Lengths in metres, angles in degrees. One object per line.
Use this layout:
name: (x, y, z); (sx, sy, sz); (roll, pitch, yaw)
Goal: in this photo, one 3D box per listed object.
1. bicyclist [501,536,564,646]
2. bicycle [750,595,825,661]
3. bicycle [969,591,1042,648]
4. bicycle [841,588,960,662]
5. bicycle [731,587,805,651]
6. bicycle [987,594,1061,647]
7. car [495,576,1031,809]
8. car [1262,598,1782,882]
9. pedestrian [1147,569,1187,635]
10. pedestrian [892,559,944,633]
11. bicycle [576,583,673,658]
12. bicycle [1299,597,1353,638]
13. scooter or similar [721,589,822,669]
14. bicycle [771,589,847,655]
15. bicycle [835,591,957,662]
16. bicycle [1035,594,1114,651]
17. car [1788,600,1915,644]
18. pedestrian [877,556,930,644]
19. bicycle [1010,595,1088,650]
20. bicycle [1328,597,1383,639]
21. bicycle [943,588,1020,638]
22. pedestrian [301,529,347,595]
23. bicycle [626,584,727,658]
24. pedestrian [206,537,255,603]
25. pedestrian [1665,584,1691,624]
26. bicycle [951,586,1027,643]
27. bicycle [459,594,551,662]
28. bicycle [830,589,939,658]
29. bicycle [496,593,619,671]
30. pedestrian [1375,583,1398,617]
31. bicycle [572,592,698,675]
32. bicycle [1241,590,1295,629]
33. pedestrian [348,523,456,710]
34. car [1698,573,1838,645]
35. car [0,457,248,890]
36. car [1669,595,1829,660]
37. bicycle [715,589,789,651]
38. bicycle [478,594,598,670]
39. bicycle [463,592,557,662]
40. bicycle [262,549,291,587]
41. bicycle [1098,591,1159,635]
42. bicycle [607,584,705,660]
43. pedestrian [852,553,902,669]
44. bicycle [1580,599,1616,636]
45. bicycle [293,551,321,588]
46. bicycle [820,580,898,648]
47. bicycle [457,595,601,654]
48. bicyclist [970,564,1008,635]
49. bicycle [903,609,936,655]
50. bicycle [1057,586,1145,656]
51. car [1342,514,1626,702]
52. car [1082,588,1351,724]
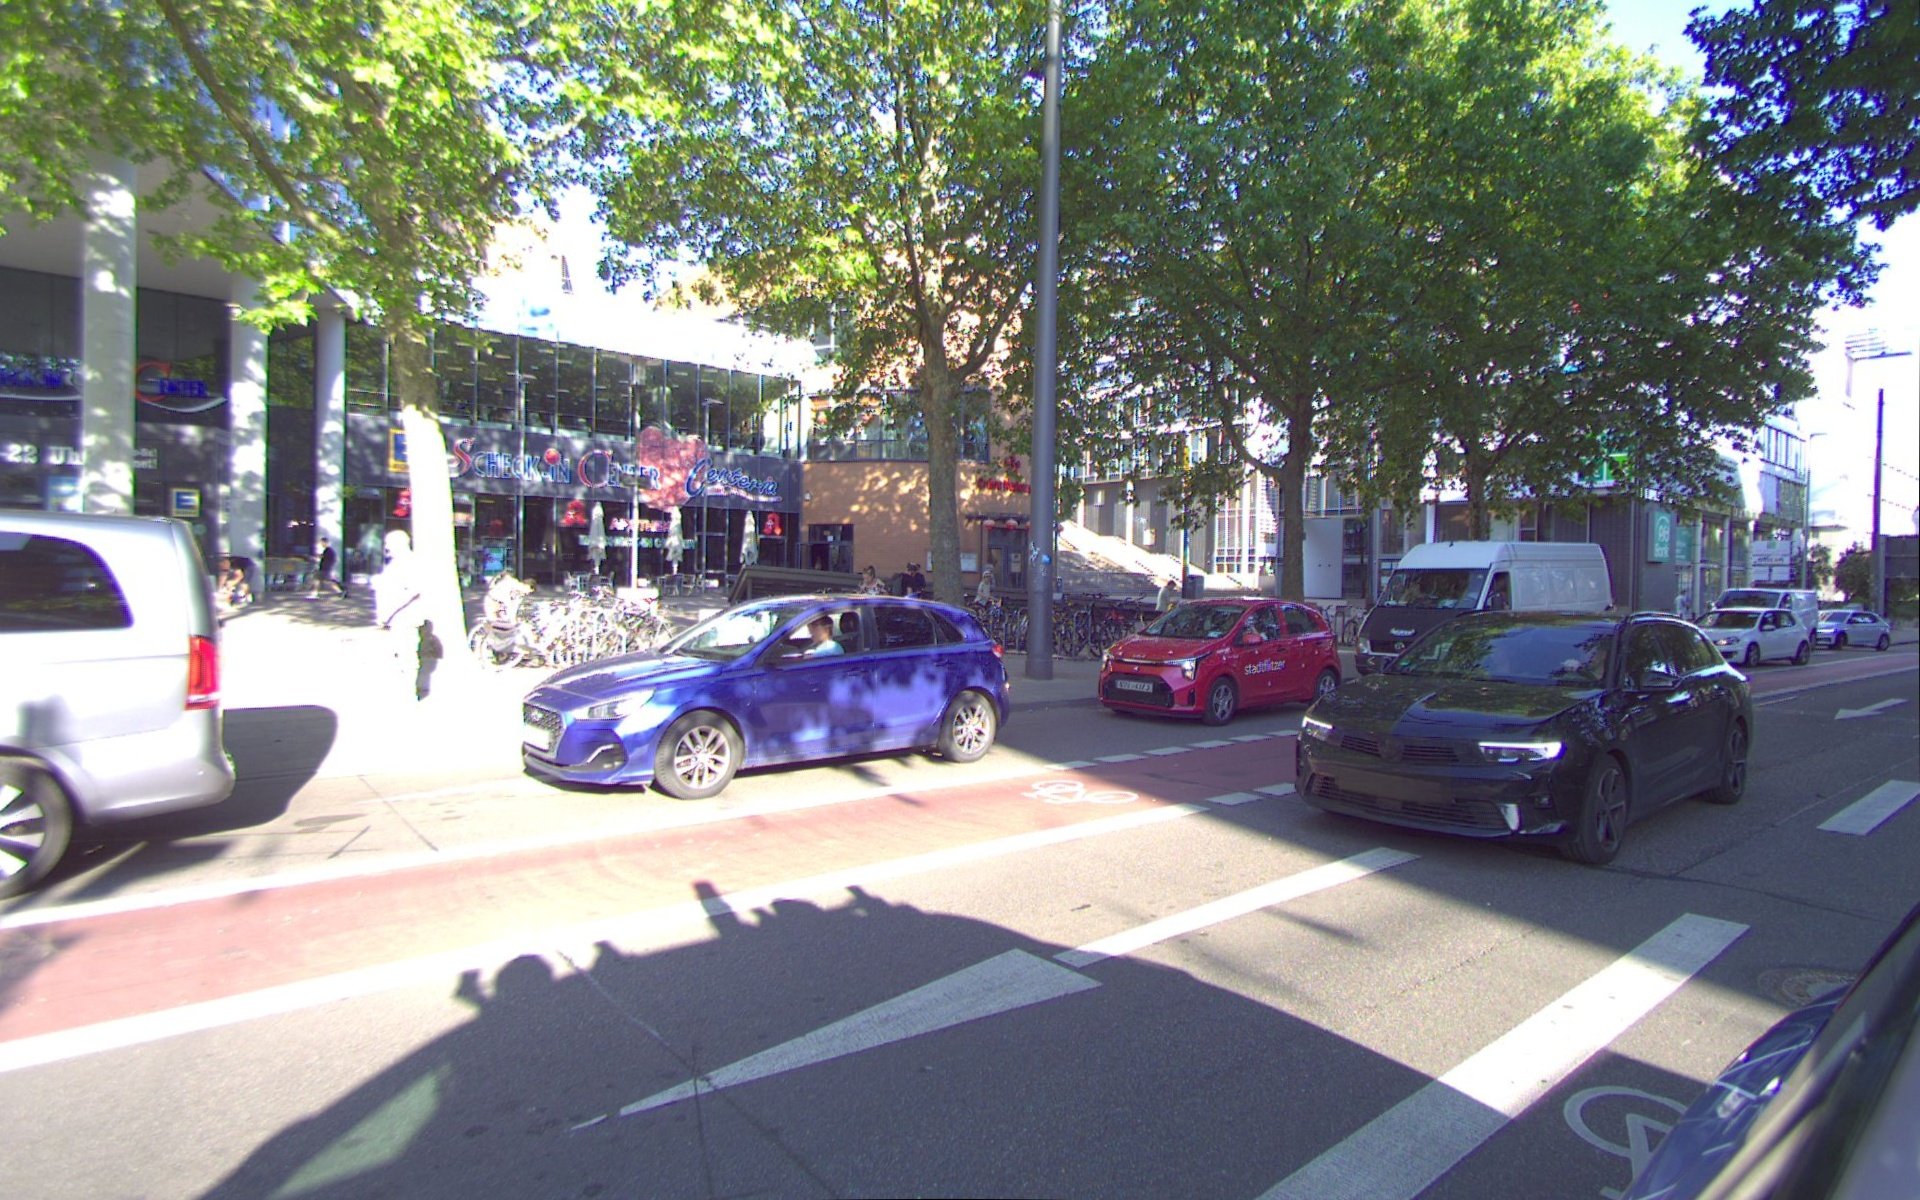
bicyclist: (-7.175, -0.155, 17.036); (0.834, 1.789, 0.754); (1, 1, -13)
bicycle: (-3.247, 0.509, 19.103); (0.420, 1.174, 1.455); (2, 1, 41)
bicycle: (0.972, 0.390, 21.349); (1.626, 1.151, 0.503); (0, 1, -41)
bicycle: (-0.948, 0.393, 16.065); (1.788, 1.130, 0.598); (1, 1, -13)
bicycle: (-3.680, 0.343, 19.488); (0.420, 1.174, 1.455); (2, 1, 41)
bicycle: (1.330, 0.414, 20.880); (1.626, 1.044, 0.503); (0, 1, -41)
car: (-1.496, 0.584, 8.606); (4.143, 1.482, 1.768); (0, 2, -41)
car: (4.176, 0.705, 7.217); (4.268, 1.443, 1.826); (0, 0, -40)
pedestrian: (5.257, 0.045, 25.725); (0.623, 1.651, 0.719); (1, 1, -34)
pedestrian: (-1.041, -0.112, 24.937); (1.000, 1.779, 0.789); (0, 1, -35)
bicycle: (-5.492, 0.314, 16.606); (1.450, 1.174, 0.421); (0, 1, -40)
bicycle: (10.022, 0.471, 27.701); (1.624, 1.060, 0.597); (0, 1, -37)
scooter or similar: (-2.928, 0.439, 15.719); (1.249, 1.156, 0.905); (-2, 0, 37)
bicycle: (-2.792, 0.389, 18.808); (0.420, 1.174, 1.455); (2, 1, 41)
bicycle: (-1.062, 0.435, 16.728); (1.908, 1.130, 0.598); (1, 1, -13)
bicycle: (2.259, 0.420, 19.856); (1.626, 1.044, 0.596); (0, 1, -41)
car: (31.819, 0.759, 36.128); (3.937, 1.437, 1.791); (1, 1, -22)
pedestrian: (-1.171, -0.015, 20.977); (0.756, 1.779, 0.820); (1, 1, -35)
bicycle: (1.805, 0.440, 20.358); (1.626, 1.044, 0.596); (0, 1, -41)
bicycle: (10.654, 0.470, 27.238); (1.624, 1.060, 0.597); (0, 1, -37)
bicycle: (0.499, 0.306, 24.021); (1.742, 1.140, 0.568); (1, 1, -7)
pedestrian: (-18.475, -1.096, 29.417); (0.834, 1.866, 1.002); (1, 1, -15)
bicycle: (-4.385, 0.308, 15.707); (1.451, 1.095, 0.421); (0, 1, -42)
pedestrian: (-18.874, -0.782, 26.195); (0.951, 1.661, 0.865); (0, 1, -41)
pedestrian: (31.259, 0.181, 44.061); (0.529, 1.697, 0.724); (1, 1, -28)
bicycle: (0.637, 0.299, 21.732); (1.662, 1.174, 0.479); (0, 1, -37)
bicycle: (-7.170, 0.432, 15.966); (1.293, 1.038, 0.397); (1, 1, -24)
bicycle: (-1.304, 0.402, 17.464); (1.788, 1.130, 0.598); (1, 1, -13)
bicycle: (-5.671, 0.430, 14.321); (1.546, 1.038, 0.461); (0, 2, -43)
pedestrian: (18.915, 0.003, 44.842); (0.589, 1.474, 0.713); (1, 1, -37)
bicycle: (-4.485, 0.439, 14.009); (1.542, 1.070, 0.630); (0, 1, -35)
bicycle: (8.701, 0.268, 28.571); (1.624, 1.060, 0.597); (0, 1, -37)
pedestrian: (-5.715, 0.147, 10.361); (0.794, 1.808, 0.873); (0, 1, -41)
car: (26.260, 0.247, 32.839); (5.189, 2.160, 2.130); (0, 2, -35)
car: (-6.265, 0.337, 4.392); (5.047, 1.991, 1.997); (0, 0, -41)
car: (19.865, 0.667, 25.479); (3.789, 1.482, 1.675); (1, 1, -26)
bicycle: (-4.081, 0.378, 19.904); (0.420, 1.174, 1.455); (2, 1, 41)
bicycle: (-6.123, 0.440, 14.749); (1.546, 1.038, 0.461); (0, 2, -43)
bicycle: (-6.890, 0.402, 15.532); (1.293, 1.038, 0.397); (1, 1, -24)
bicycle: (-21.346, -0.996, 31.629); (0.705, 1.142, 1.921); (1, 2, -32)
bicycle: (4.498, 0.334, 26.979); (1.622, 1.140, 0.598); (0, 1, -32)
bicycle: (-4.858, 0.336, 16.228); (1.451, 1.174, 0.421); (0, 1, -42)
pedestrian: (-1.338, 0.166, 16.282); (0.644, 1.808, 0.810); (1, 1, -14)
bicycle: (20.654, 0.559, 32.739); (1.511, 1.173, 0.514); (0, 1, -39)
bicycle: (-20.704, -0.975, 32.112); (0.705, 1.142, 1.921); (1, 2, -32)
bicycle: (-1.827, 0.237, 18.450); (0.478, 1.174, 1.455); (2, 1, 41)
bicycle: (-7.219, 0.415, 17.029); (2.138, 0.945, 0.669); (1, 1, -13)
bicyclist: (0.688, -0.016, 24.040); (0.805, 1.636, 0.565); (1, 1, -7)
bicycle: (-0.755, 0.572, 18.560); (0.391, 0.770, 1.114); (1, 1, -13)
bicycle: (2.719, 0.382, 19.374); (1.843, 1.280, 0.596); (0, 1, -41)
car: (9.296, 0.109, 17.620); (6.443, 2.759, 1.998); (0, 0, -39)
car: (3.319, 0.597, 12.806); (3.558, 1.482, 1.561); (0, 1, -41)
